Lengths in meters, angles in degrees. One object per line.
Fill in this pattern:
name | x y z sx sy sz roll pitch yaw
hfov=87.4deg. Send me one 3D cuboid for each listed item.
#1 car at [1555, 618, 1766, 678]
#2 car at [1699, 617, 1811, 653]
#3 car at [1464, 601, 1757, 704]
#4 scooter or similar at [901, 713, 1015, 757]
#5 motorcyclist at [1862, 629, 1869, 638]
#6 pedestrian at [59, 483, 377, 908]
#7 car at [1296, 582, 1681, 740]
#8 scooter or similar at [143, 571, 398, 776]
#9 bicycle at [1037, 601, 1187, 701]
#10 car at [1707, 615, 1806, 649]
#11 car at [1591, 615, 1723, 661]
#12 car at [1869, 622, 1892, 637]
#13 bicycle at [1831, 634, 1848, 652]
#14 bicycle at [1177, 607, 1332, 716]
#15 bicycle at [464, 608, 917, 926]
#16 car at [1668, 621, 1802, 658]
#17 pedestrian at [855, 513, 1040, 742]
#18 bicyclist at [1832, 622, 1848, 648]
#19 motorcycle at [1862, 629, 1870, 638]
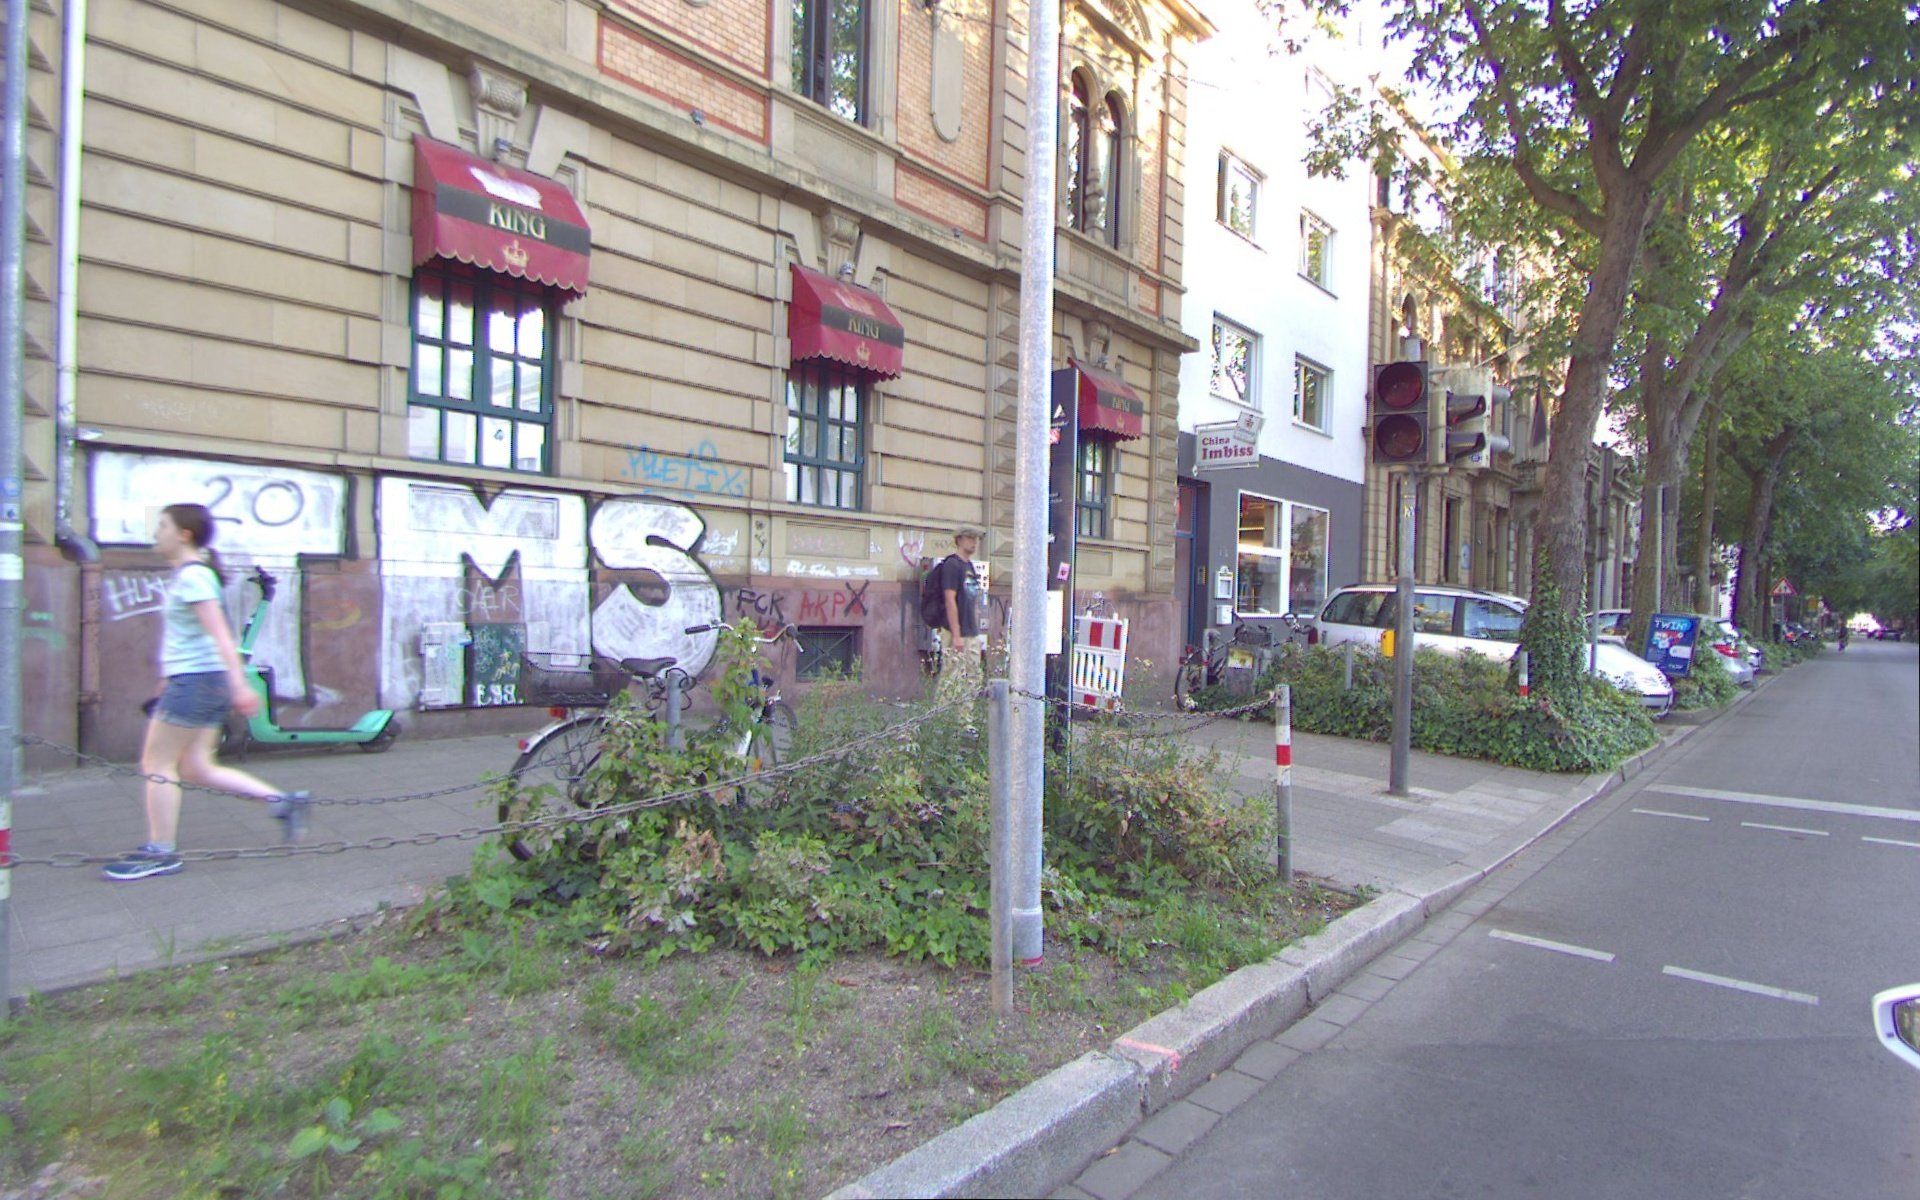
car | 18.989 1.240 27.353 4.499 1.390 1.822 1 0 44
car | 42.233 1.834 53.415 4.499 1.714 1.822 2 0 44
car | 12.463 0.924 19.448 4.499 1.711 1.822 1 0 44
scooter or similar | -0.018 1.139 8.521 0.866 0.210 0.418 5 2 27
motorcyclist | 140.942 5.229 156.302 0.809 1.253 0.846 3 1 42
pedestrian | -3.091 0.358 4.274 0.970 1.578 0.694 2 2 -34
car | 7.262 0.714 14.077 4.494 1.859 1.824 1 0 40
scooter or similar | -4.344 0.442 6.390 1.275 1.183 0.435 2 2 -36
bicycle | 2.089 0.645 13.467 0.630 1.218 2.548 1 0 43
car | 47.813 1.903 60.371 4.499 1.826 1.822 2 0 44
car | 27.139 1.433 39.176 3.995 1.611 1.822 1 0 43
car | 106.437 3.414 116.134 1.804 1.582 4.007 3 1 41
bicycle | 50.473 2.463 57.654 0.564 0.961 1.738 2 0 36
bicycle | 3.749 0.729 12.599 0.726 1.202 2.619 4 1 43
bicycle | -1.131 0.642 4.711 0.505 1.169 2.090 4 2 42
car | 33.908 1.692 44.048 4.499 1.428 1.822 1 0 44
pedestrian | -0.100 0.188 8.412 1.243 1.762 0.849 3 2 27
bicyclist | 50.535 2.011 57.683 0.564 1.489 0.640 2 0 36
motorcycle | 140.962 5.230 156.328 0.809 1.253 2.014 3 1 42
